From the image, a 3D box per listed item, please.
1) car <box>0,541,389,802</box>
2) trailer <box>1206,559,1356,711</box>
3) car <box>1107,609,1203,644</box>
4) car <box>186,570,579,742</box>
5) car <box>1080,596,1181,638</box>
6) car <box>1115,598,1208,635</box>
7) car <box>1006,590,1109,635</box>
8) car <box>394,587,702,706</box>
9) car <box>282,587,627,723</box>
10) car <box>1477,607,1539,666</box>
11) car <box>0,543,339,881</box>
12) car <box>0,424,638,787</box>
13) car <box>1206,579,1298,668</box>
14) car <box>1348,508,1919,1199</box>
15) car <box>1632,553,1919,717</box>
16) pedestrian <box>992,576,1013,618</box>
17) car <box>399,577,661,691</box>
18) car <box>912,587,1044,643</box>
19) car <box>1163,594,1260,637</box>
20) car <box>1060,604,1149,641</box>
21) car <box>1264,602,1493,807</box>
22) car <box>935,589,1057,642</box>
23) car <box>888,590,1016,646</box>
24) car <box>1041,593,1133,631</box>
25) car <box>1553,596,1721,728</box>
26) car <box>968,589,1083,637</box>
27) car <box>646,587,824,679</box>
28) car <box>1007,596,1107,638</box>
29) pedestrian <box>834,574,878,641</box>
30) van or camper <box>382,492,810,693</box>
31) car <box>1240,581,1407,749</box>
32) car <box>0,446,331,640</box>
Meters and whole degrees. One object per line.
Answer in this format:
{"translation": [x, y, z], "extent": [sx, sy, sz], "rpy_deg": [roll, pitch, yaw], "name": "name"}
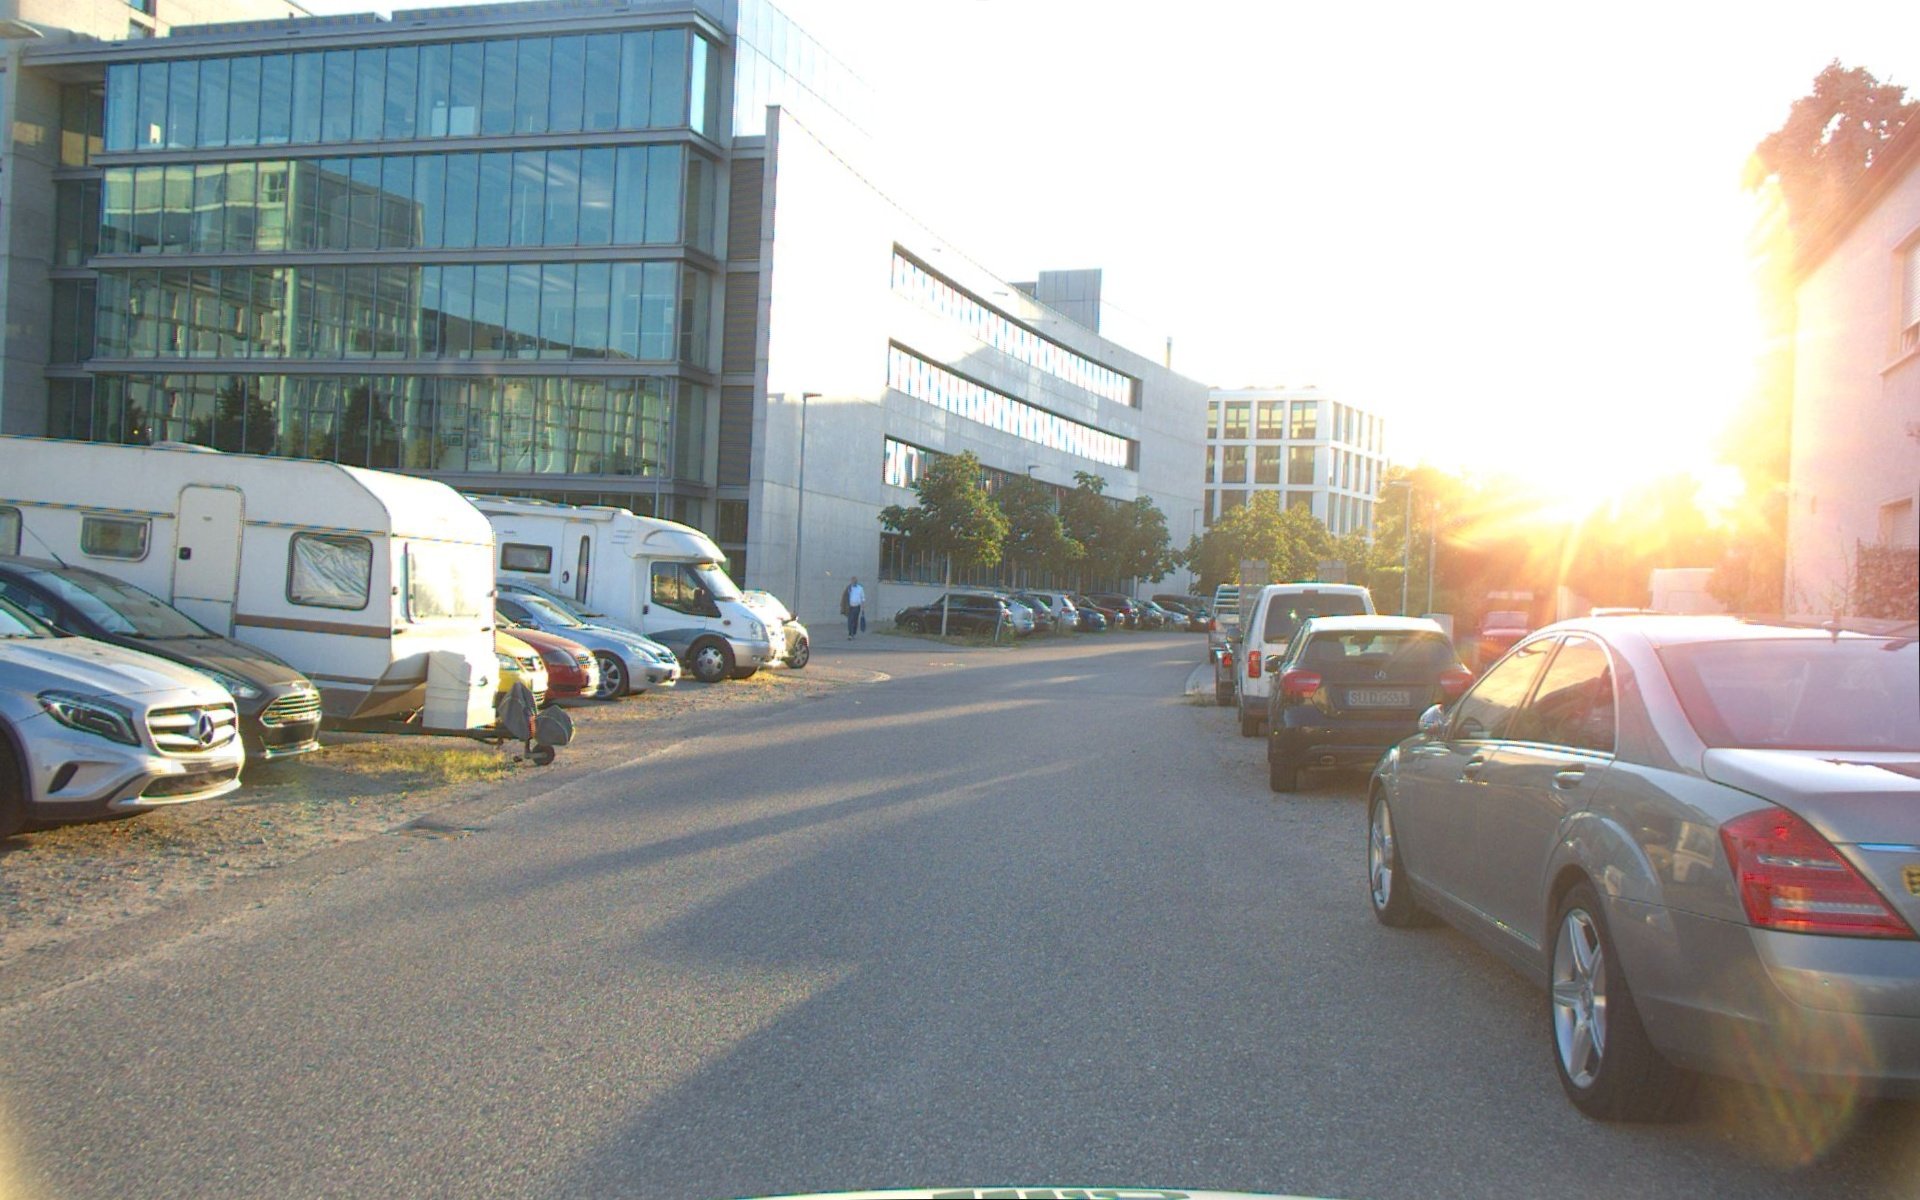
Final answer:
{"translation": [-6.563, 0.411, 12.101], "extent": [4.040, 1.618, 1.749], "rpy_deg": [4, -1, 4], "name": "car"}
{"translation": [5.247, 0.521, 27.656], "extent": [2.020, 2.250, 5.226], "rpy_deg": [1, 0, 7], "name": "trailer"}
{"translation": [9.648, 1.288, 81.919], "extent": [4.345, 1.489, 1.762], "rpy_deg": [2, 1, 23], "name": "car"}
{"translation": [-6.153, 0.570, 17.896], "extent": [3.553, 1.545, 1.706], "rpy_deg": [3, 0, 2], "name": "car"}
{"translation": [7.867, 0.790, 76.295], "extent": [4.220, 1.726, 1.896], "rpy_deg": [3, 0, 20], "name": "car"}
{"translation": [10.265, 0.830, 84.297], "extent": [4.314, 1.525, 1.761], "rpy_deg": [5, 0, 27], "name": "car"}
{"translation": [3.933, 0.493, 66.577], "extent": [3.789, 1.537, 1.761], "rpy_deg": [3, 1, 18], "name": "car"}
{"translation": [-5.649, 0.611, 22.946], "extent": [3.728, 1.351, 1.694], "rpy_deg": [3, 0, 4], "name": "car"}
{"translation": [-6.170, 0.645, 20.467], "extent": [3.649, 1.391, 1.706], "rpy_deg": [3, 0, 2], "name": "car"}
{"translation": [14.790, 0.960, 44.742], "extent": [1.496, 1.469, 3.641], "rpy_deg": [1, 0, 17], "name": "car"}
{"translation": [-5.940, 0.472, 9.416], "extent": [4.039, 1.618, 1.749], "rpy_deg": [4, -2, 9], "name": "car"}
{"translation": [-6.073, -0.017, 14.483], "extent": [5.764, 2.577, 2.413], "rpy_deg": [4, 0, 7], "name": "car"}
{"translation": [7.717, 0.575, 43.441], "extent": [2.021, 2.131, 4.876], "rpy_deg": [1, 0, 14], "name": "car"}
{"translation": [2.792, 0.670, 6.117], "extent": [1.768, 1.755, 4.930], "rpy_deg": [0, 0, 3], "name": "car"}
{"translation": [15.562, 0.583, 30.778], "extent": [5.448, 2.739, 2.054], "rpy_deg": [3, 2, 20], "name": "car"}
{"translation": [1.873, -0.113, 72.797], "extent": [0.632, 1.815, 0.725], "rpy_deg": [3, 0, 17], "name": "pedestrian"}
{"translation": [-6.631, 0.507, 25.736], "extent": [3.530, 1.502, 1.693], "rpy_deg": [3, 0, 1], "name": "car"}
{"translation": [0.609, 0.479, 54.658], "extent": [3.999, 1.555, 1.848], "rpy_deg": [4, 1, 11], "name": "car"}
{"translation": [14.193, 0.869, 93.447], "extent": [4.977, 1.980, 1.887], "rpy_deg": [5, 0, 25], "name": "car"}
{"translation": [6.453, 1.009, 73.874], "extent": [3.626, 1.483, 1.679], "rpy_deg": [3, 0, 20], "name": "car"}
{"translation": [3.663, 0.818, 15.056], "extent": [1.668, 1.545, 4.091], "rpy_deg": [1, 0, 10], "name": "car"}
{"translation": [1.263, 0.505, 56.941], "extent": [3.913, 1.538, 1.586], "rpy_deg": [4, 2, 11], "name": "car"}
{"translation": [-0.243, 0.538, 51.890], "extent": [3.655, 1.507, 1.771], "rpy_deg": [3, 1, 12], "name": "car"}
{"translation": [5.520, 0.531, 71.945], "extent": [3.625, 1.483, 1.712], "rpy_deg": [3, 0, 18], "name": "car"}
{"translation": [8.865, 0.816, 21.914], "extent": [1.601, 1.546, 3.905], "rpy_deg": [1, -2, 16], "name": "car"}
{"translation": [2.454, 0.471, 61.697], "extent": [3.904, 1.537, 1.761], "rpy_deg": [3, 1, 17], "name": "car"}
{"translation": [-4.225, 0.621, 31.777], "extent": [1.651, 1.545, 4.363], "rpy_deg": [3, 0, 17], "name": "car"}
{"translation": [3.740, 0.632, 63.446], "extent": [3.556, 1.385, 1.687], "rpy_deg": [3, 1, 13], "name": "car"}
{"translation": [-2.973, 0.216, 47.084], "extent": [0.894, 1.882, 0.843], "rpy_deg": [1, 1, -41], "name": "pedestrian"}
{"translation": [-6.121, -0.146, 28.305], "extent": [6.598, 2.948, 2.410], "rpy_deg": [3, 0, 6], "name": "van or camper"}
{"translation": [4.516, 0.747, 21.072], "extent": [1.733, 1.863, 4.411], "rpy_deg": [1, 0, 8], "name": "car"}
{"translation": [-13.554, -0.944, 26.514], "extent": [6.110, 2.719, 2.225], "rpy_deg": [4, 0, 11], "name": "car"}
